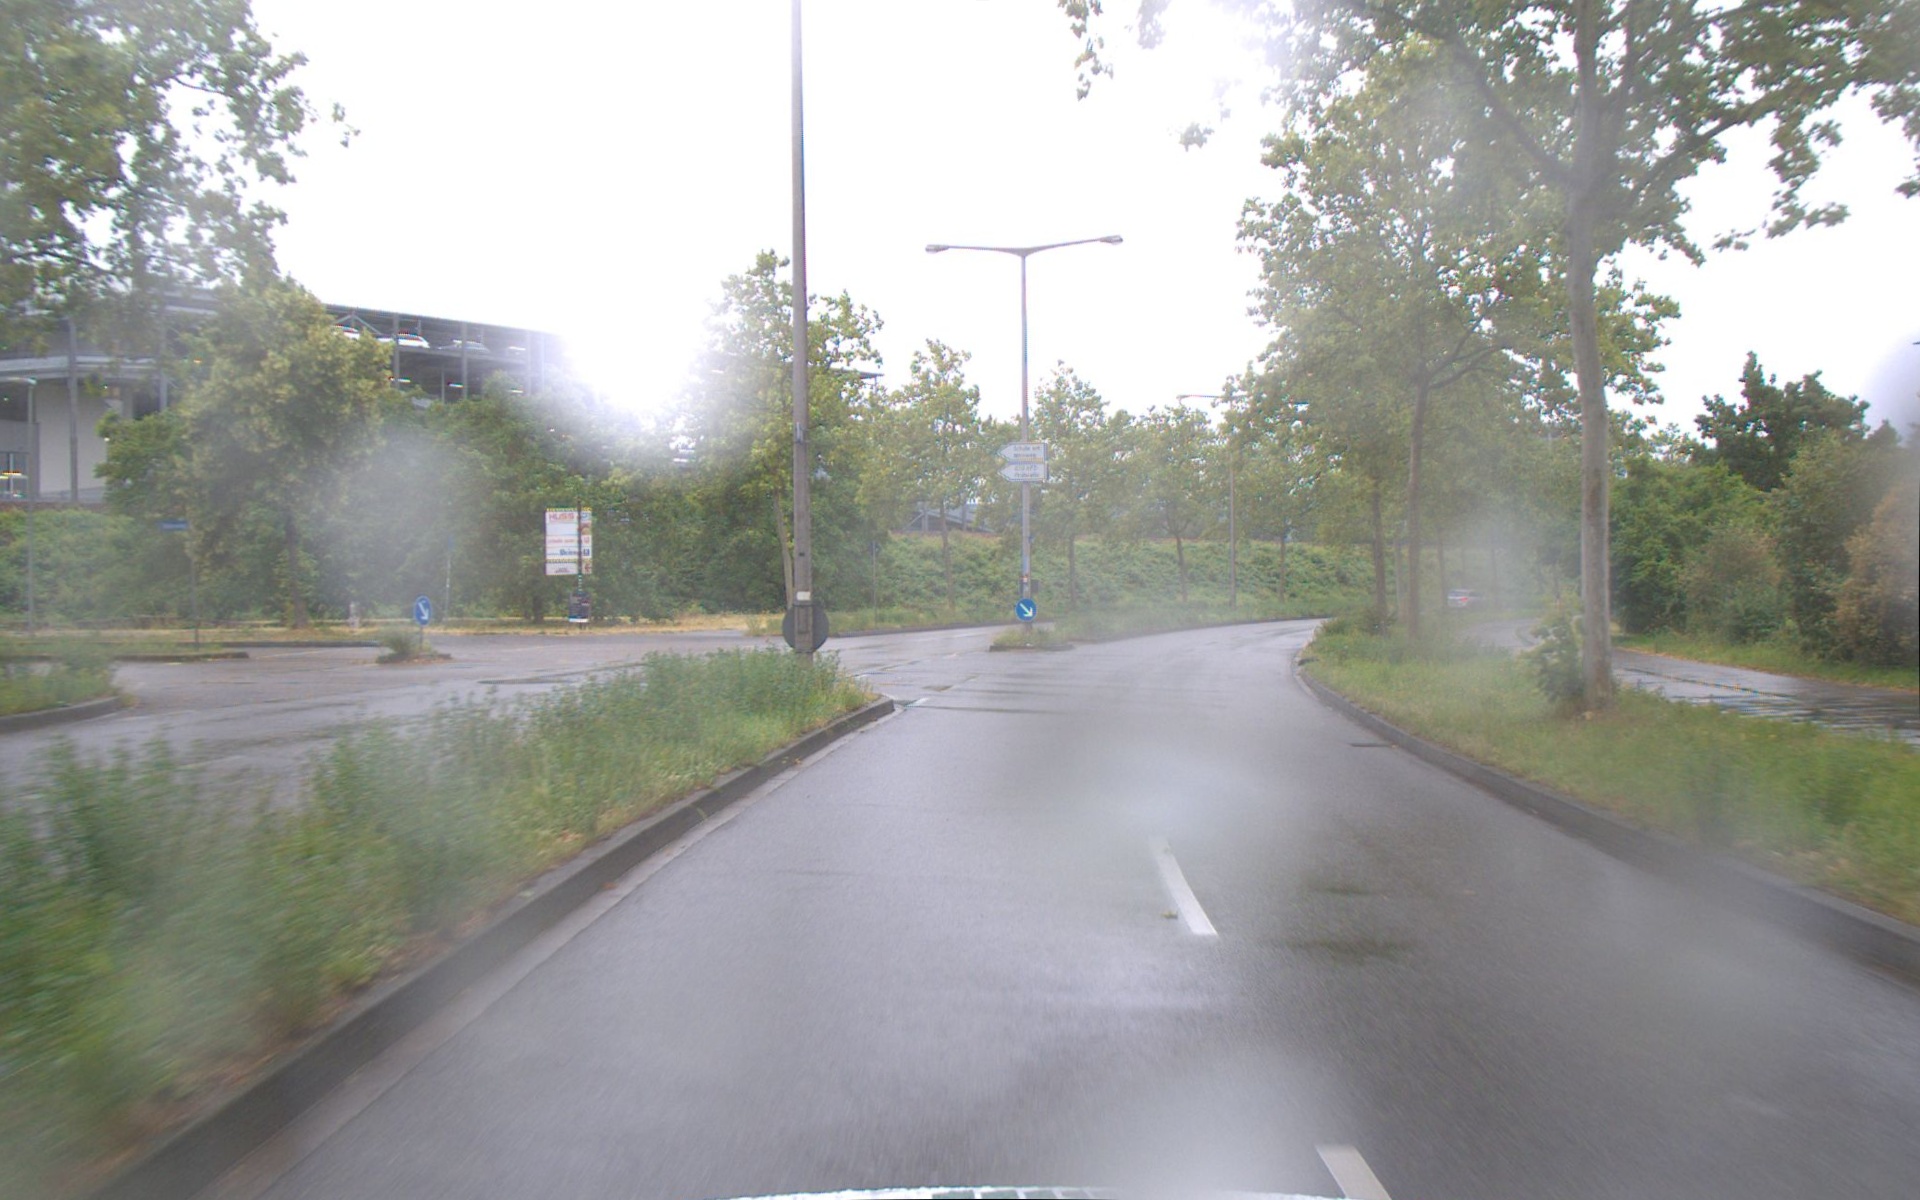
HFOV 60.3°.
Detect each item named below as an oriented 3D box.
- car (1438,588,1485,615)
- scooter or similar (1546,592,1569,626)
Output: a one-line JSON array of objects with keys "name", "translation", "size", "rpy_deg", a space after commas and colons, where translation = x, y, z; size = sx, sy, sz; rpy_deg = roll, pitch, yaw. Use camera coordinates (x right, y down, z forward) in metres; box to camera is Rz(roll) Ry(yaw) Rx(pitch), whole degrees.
[{"name": "car", "translation": [31.129, 0.074, 102.619], "size": [1.748, 1.582, 3.988], "rpy_deg": [2, 1, 33]}, {"name": "scooter or similar", "translation": [21.773, 0.317, 60.324], "size": [0.537, 1.219, 1.112], "rpy_deg": [0, 0, 6]}]
